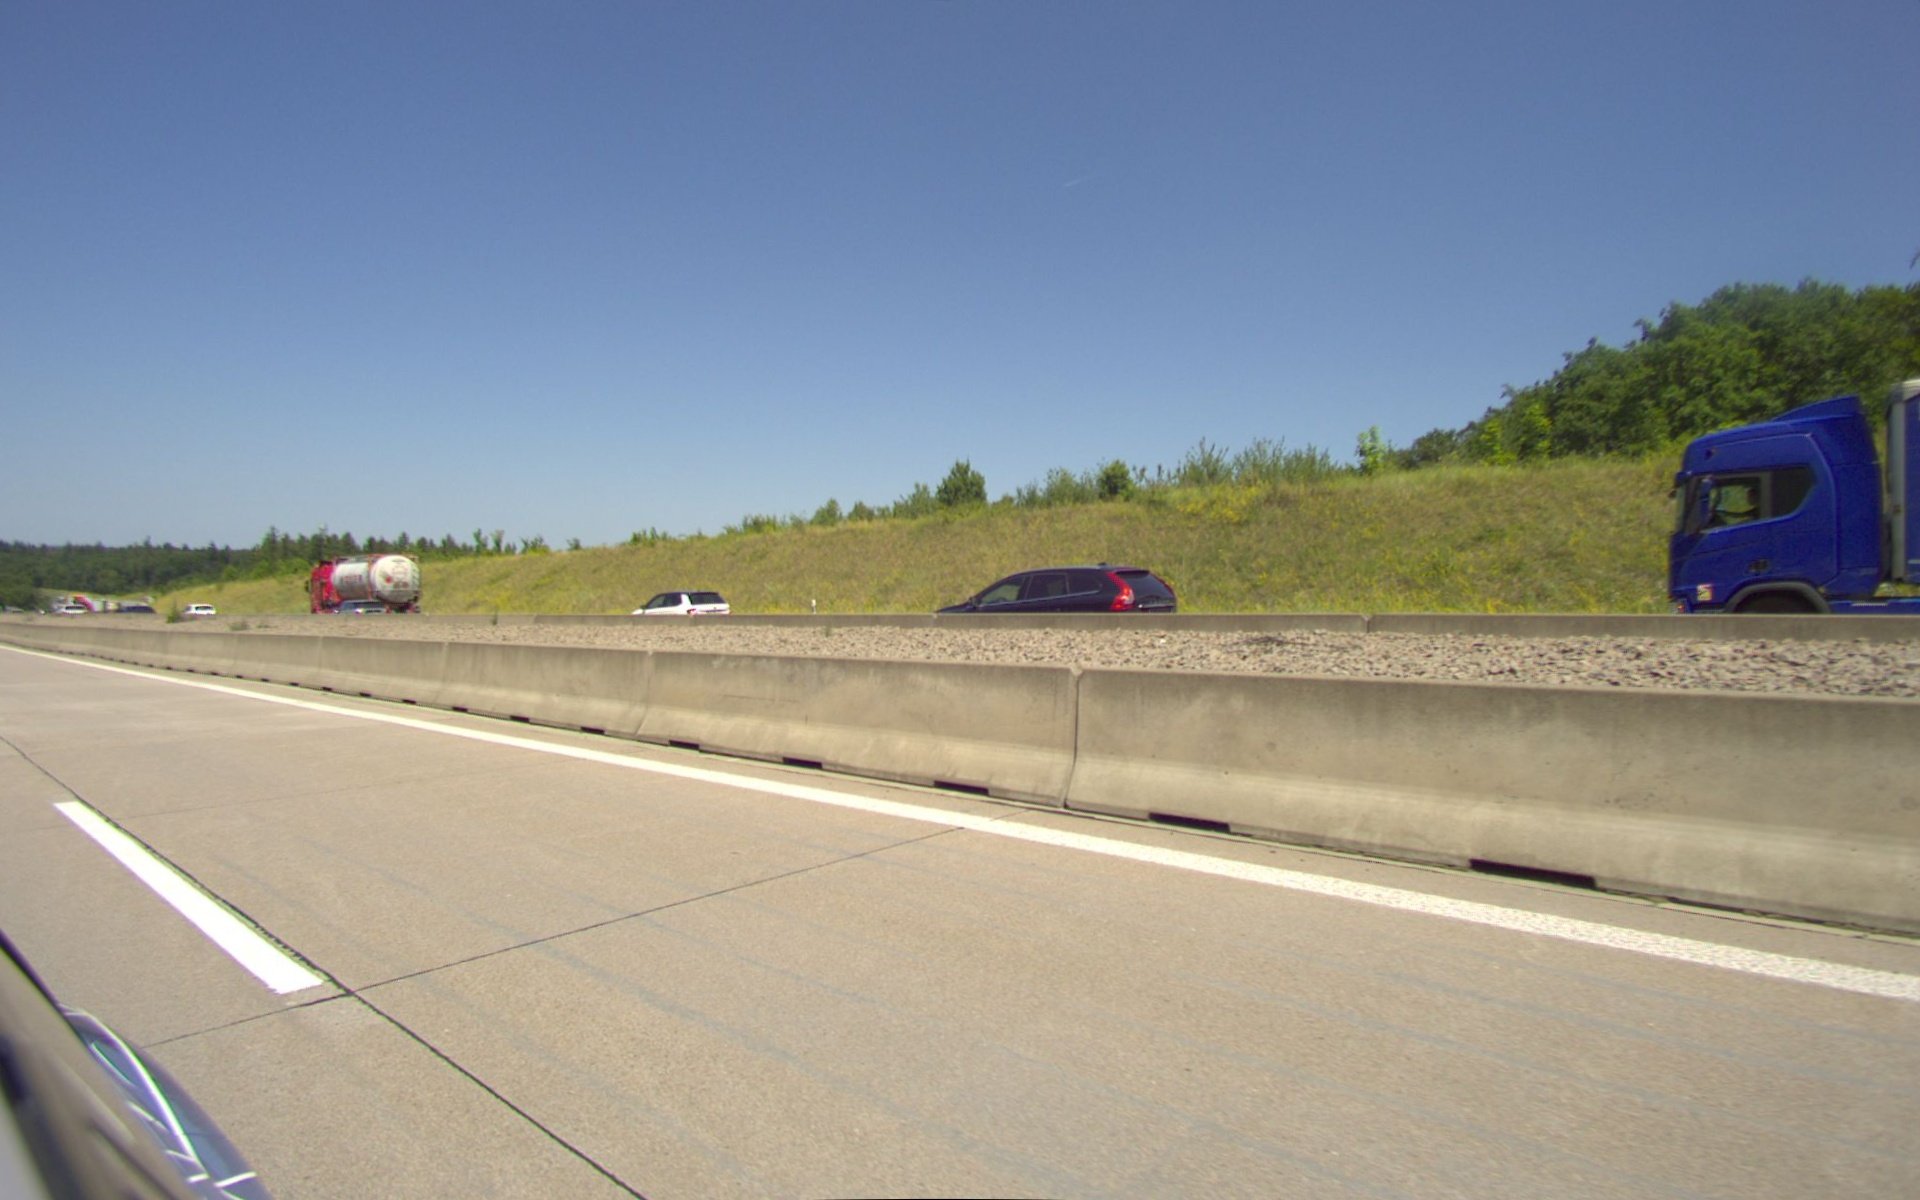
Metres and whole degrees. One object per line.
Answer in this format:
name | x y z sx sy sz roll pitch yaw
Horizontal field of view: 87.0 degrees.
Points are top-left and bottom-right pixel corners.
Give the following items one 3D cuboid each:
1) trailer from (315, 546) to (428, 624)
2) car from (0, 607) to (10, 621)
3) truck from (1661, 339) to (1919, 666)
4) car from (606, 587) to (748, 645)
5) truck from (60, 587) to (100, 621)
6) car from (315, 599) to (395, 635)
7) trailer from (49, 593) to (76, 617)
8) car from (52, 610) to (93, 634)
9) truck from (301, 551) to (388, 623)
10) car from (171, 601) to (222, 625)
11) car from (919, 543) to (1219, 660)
trailer | -34.207 -0.780 58.646 9.332 4.200 2.902 0 0 42
car | -143.520 2.116 151.037 4.458 2.029 1.973 -1 -2 41
truck | 14.615 -1.369 15.031 6.573 4.538 3.222 0 0 42
car | -8.524 0.455 30.313 4.528 1.595 1.972 -1 0 42
truck | -124.628 0.622 143.232 11.257 4.548 2.882 -1 -2 43
car | -28.269 0.768 47.240 4.429 1.595 1.972 -1 0 42
trailer | -167.288 0.948 188.611 13.196 4.200 2.900 0 0 45
car | -72.922 1.810 83.163 4.967 1.887 1.972 -1 0 42
truck | -37.550 -0.756 61.647 5.980 4.200 2.902 0 0 42
car | -51.840 0.859 68.698 4.178 1.595 1.972 -1 0 42
car | 1.619 0.034 15.992 4.401 1.595 1.972 -1 0 42
